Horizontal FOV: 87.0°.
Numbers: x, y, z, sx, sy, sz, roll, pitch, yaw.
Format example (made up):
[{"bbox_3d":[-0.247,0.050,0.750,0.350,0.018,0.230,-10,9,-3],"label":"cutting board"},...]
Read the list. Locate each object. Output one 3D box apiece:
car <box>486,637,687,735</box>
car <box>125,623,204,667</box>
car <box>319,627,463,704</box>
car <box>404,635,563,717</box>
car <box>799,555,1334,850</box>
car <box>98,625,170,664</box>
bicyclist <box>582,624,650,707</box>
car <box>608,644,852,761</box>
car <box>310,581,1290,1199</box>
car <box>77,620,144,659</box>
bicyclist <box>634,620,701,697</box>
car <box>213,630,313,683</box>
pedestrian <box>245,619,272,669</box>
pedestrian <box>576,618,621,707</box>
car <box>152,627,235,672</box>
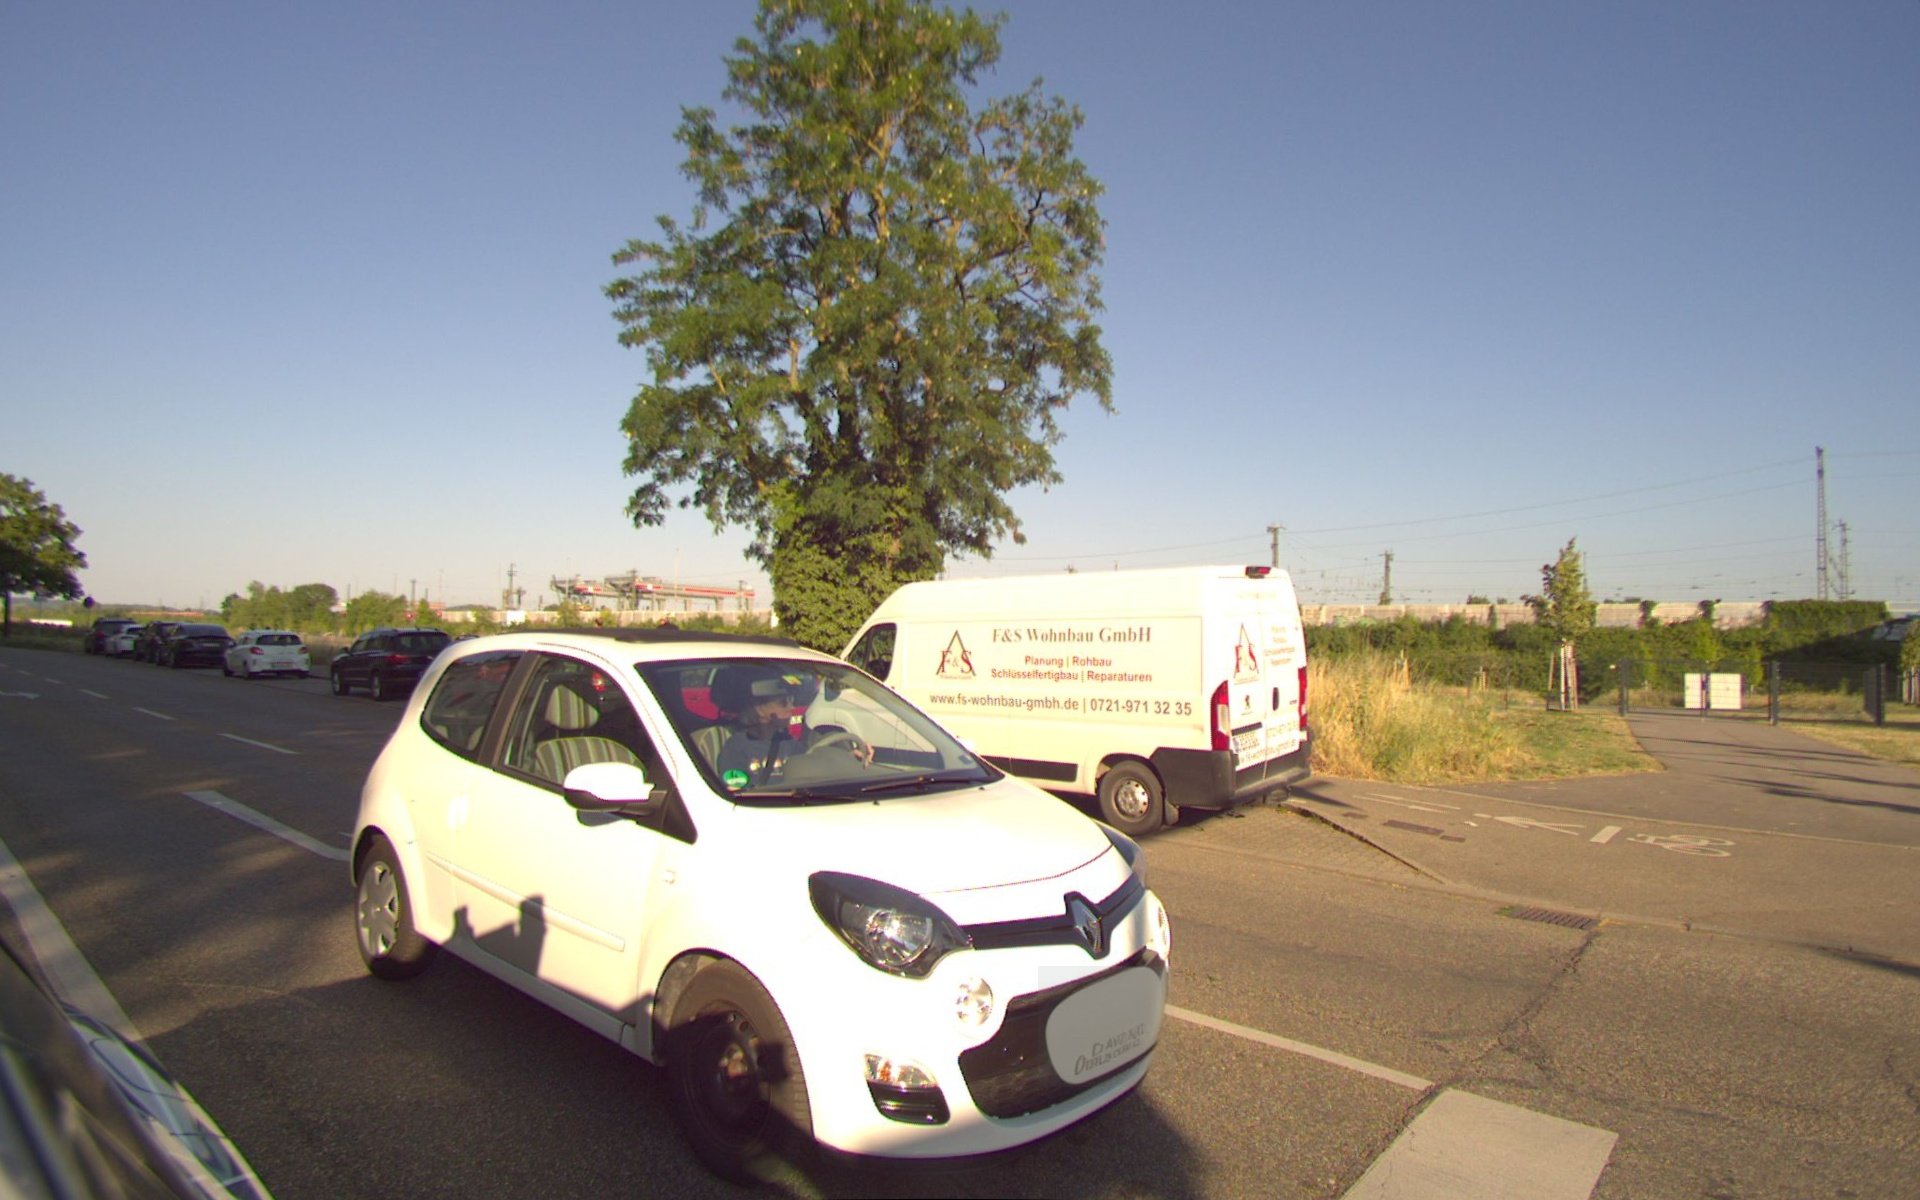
[{"bbox_3d":[-6.806,1.495,18.319,3.814,1.541,1.723,-1,-4,40],"label":"car"},{"bbox_3d":[-32.390,1.813,41.151,4.219,1.650,1.799,-1,-4,43],"label":"car"},{"bbox_3d":[-13.604,1.526,24.116,4.003,1.672,1.642,-1,-4,40],"label":"car"},{"bbox_3d":[-10.022,1.547,21.198,3.577,1.541,1.642,-1,-4,40],"label":"car"},{"bbox_3d":[0.921,0.894,11.083,5.556,2.455,2.207,-1,-1,40],"label":"car"},{"bbox_3d":[-36.477,1.953,44.661,4.219,1.586,1.799,-1,-4,43],"label":"car"},{"bbox_3d":[-6.918,1.312,20.368,1.145,1.609,0.758,-1,-4,40],"label":"bicyclist"},{"bbox_3d":[-3.556,1.474,15.397,3.692,1.498,1.723,-1,-4,40],"label":"car"},{"bbox_3d":[-0.877,0.773,3.943,3.772,1.480,1.683,-1,-4,40],"label":"car"},{"bbox_3d":[-40.847,1.897,48.609,4.219,1.789,1.866,-1,-4,43],"label":"car"},{"bbox_3d":[-6.273,1.247,21.699,1.146,1.609,0.855,-1,-4,42],"label":"bicyclist"},{"bbox_3d":[-21.566,1.732,31.293,3.582,1.538,1.684,-1,-4,42],"label":"car"},{"bbox_3d":[-28.958,1.818,41.774,0.710,2.029,0.697,-1,-4,42],"label":"pedestrian"},{"bbox_3d":[-8.423,1.457,23.591,0.729,2.029,0.608,-1,-4,39],"label":"pedestrian"},{"bbox_3d":[-28.241,1.816,37.229,1.798,1.538,4.292,5,-4,-45],"label":"car"}]
